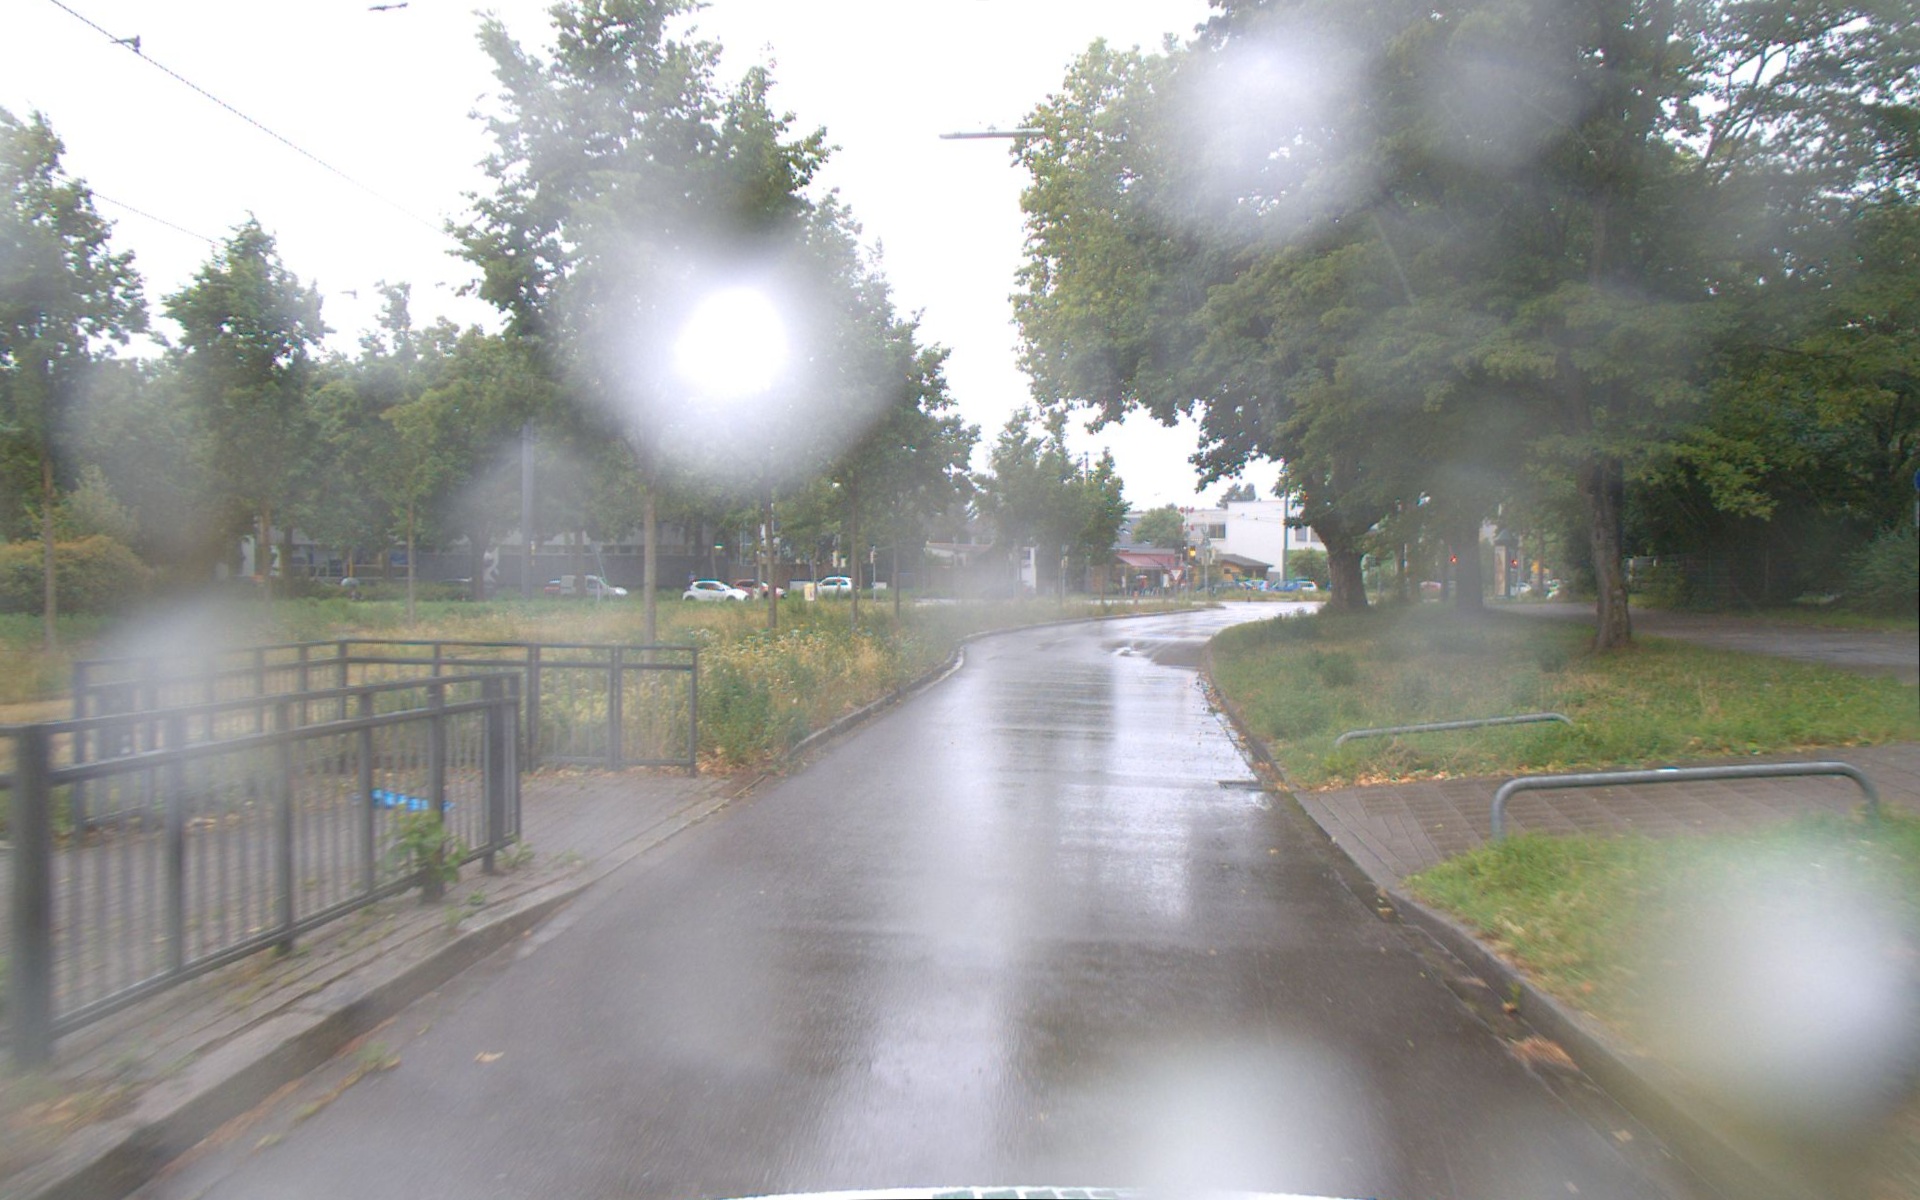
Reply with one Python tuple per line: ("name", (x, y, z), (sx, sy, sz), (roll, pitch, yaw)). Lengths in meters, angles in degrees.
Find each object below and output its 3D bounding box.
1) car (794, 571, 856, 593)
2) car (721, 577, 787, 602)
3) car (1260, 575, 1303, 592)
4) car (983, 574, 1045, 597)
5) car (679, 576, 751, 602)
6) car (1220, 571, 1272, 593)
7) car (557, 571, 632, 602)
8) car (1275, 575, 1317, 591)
("car", (-9.100, -1.242, 111.319), (3.902, 1.445, 1.540), (0, 1, 9))
("car", (-12.844, -0.660, 103.214), (3.736, 1.525, 1.653), (0, 0, 8))
("car", (28.243, -1.480, 145.351), (3.670, 1.467, 1.764), (0, 0, 13))
("car", (3.549, -0.968, 109.357), (3.727, 1.445, 1.688), (0, 1, 25))
("car", (-14.747, -0.659, 99.591), (3.979, 1.525, 1.653), (0, 0, 8))
("car", (24.466, -1.540, 141.430), (4.054, 1.892, 1.672), (0, 0, 26))
("car", (-22.294, -0.827, 100.953), (4.120, 1.827, 1.653), (0, 2, 6))
("car", (30.116, -1.518, 148.167), (3.670, 1.467, 1.764), (0, 0, 13))
